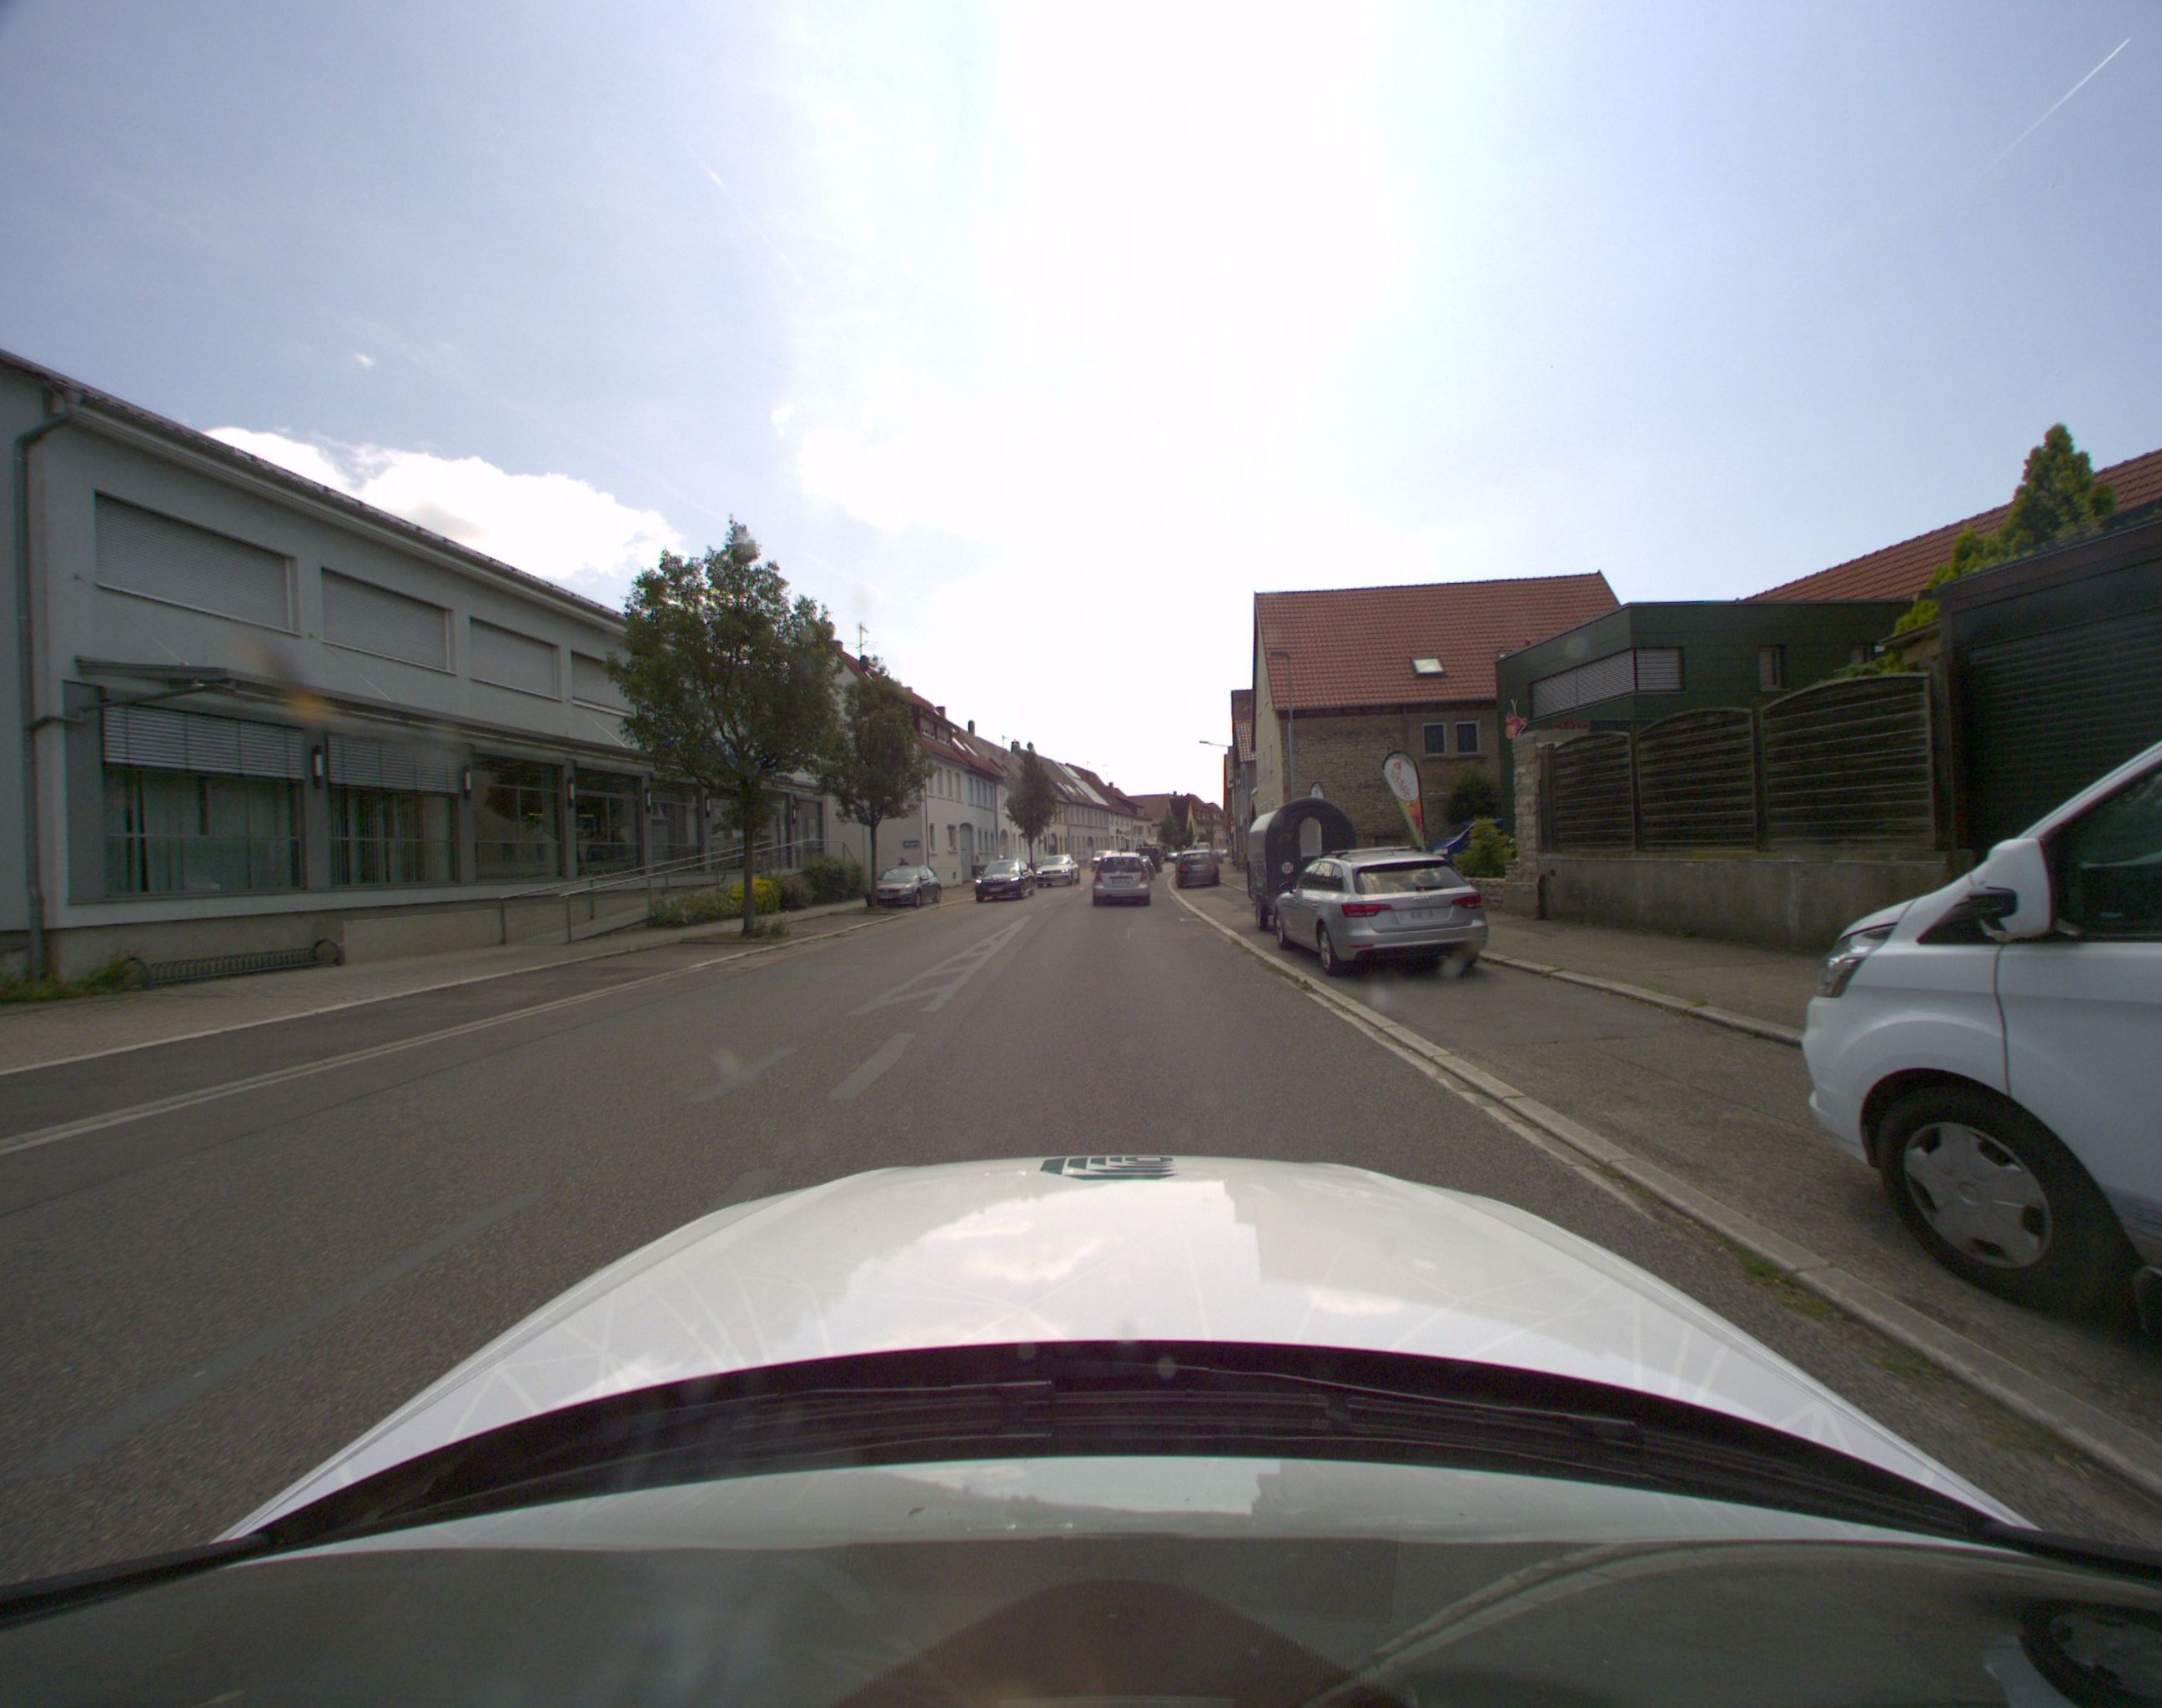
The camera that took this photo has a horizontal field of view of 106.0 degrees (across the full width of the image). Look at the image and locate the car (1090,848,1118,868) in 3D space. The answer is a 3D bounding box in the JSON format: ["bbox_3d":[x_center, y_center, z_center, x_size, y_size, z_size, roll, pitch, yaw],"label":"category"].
[{"bbox_3d":[2.307,0.360,80.039,2.078,1.884,4.012,-3,0,11],"label":"car"}]

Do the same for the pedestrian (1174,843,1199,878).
[{"bbox_3d":[5.754,0.333,44.212,1.087,1.821,1.475,-3,0,14],"label":"pedestrian"}]

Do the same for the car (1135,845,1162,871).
[{"bbox_3d":[5.216,0.299,62.690,1.759,1.888,4.457,0,-1,9],"label":"car"}]

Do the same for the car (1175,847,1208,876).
[{"bbox_3d":[6.852,0.449,50.187,1.850,1.626,4.207,-3,-1,9],"label":"car"}]

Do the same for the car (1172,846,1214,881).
[{"bbox_3d":[5.541,0.481,40.797,1.851,1.531,4.203,-3,-1,6],"label":"car"}]

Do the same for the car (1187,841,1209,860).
[{"bbox_3d":[14.668,-0.415,101.868,2.221,2.222,4.014,-3,-1,13],"label":"car"}]

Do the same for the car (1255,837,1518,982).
[{"bbox_3d":[3.811,0.608,11.181,1.869,1.481,4.675,-3,0,1],"label":"car"}]

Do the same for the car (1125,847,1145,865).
[{"bbox_3d":[6.535,0.213,97.947,1.983,2.014,4.008,-3,-1,7],"label":"car"}]

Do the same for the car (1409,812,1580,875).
[{"bbox_3d":[14.580,-0.376,28.934,5.037,1.950,1.999,-2,0,-2],"label":"car"}]

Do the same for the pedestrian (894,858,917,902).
[{"bbox_3d":[-7.401,1.095,34.328,0.736,1.801,0.643,-3,-1,2],"label":"pedestrian"}]

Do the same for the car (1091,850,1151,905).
[{"bbox_3d":[1.204,0.710,25.943,1.763,1.595,4.000,0,-1,0],"label":"car"}]

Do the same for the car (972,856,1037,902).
[{"bbox_3d":[-2.862,0.911,31.378,1.735,1.526,4.024,-4,0,4],"label":"car"}]

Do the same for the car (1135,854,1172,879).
[{"bbox_3d":[4.241,0.706,46.933,1.934,1.407,4.008,0,-1,7],"label":"car"}]

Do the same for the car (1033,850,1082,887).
[{"bbox_3d":[-1.169,0.717,43.026,1.944,1.784,4.660,-1,0,6],"label":"car"}]

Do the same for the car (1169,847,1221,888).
[{"bbox_3d":[4.929,0.534,35.147,1.982,1.559,4.009,-4,0,8],"label":"car"}]

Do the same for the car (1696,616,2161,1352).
[{"bbox_3d":[3.805,0.295,1.257,1.886,1.982,4.931,-5,0,0],"label":"car"}]

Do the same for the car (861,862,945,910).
[{"bbox_3d":[-6.239,1.079,29.025,1.796,1.460,4.163,-2,0,4],"label":"car"}]

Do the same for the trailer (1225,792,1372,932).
[{"bbox_3d":[4.102,0.132,15.985,1.839,2.354,3.589,-3,0,0],"label":"trailer"}]
